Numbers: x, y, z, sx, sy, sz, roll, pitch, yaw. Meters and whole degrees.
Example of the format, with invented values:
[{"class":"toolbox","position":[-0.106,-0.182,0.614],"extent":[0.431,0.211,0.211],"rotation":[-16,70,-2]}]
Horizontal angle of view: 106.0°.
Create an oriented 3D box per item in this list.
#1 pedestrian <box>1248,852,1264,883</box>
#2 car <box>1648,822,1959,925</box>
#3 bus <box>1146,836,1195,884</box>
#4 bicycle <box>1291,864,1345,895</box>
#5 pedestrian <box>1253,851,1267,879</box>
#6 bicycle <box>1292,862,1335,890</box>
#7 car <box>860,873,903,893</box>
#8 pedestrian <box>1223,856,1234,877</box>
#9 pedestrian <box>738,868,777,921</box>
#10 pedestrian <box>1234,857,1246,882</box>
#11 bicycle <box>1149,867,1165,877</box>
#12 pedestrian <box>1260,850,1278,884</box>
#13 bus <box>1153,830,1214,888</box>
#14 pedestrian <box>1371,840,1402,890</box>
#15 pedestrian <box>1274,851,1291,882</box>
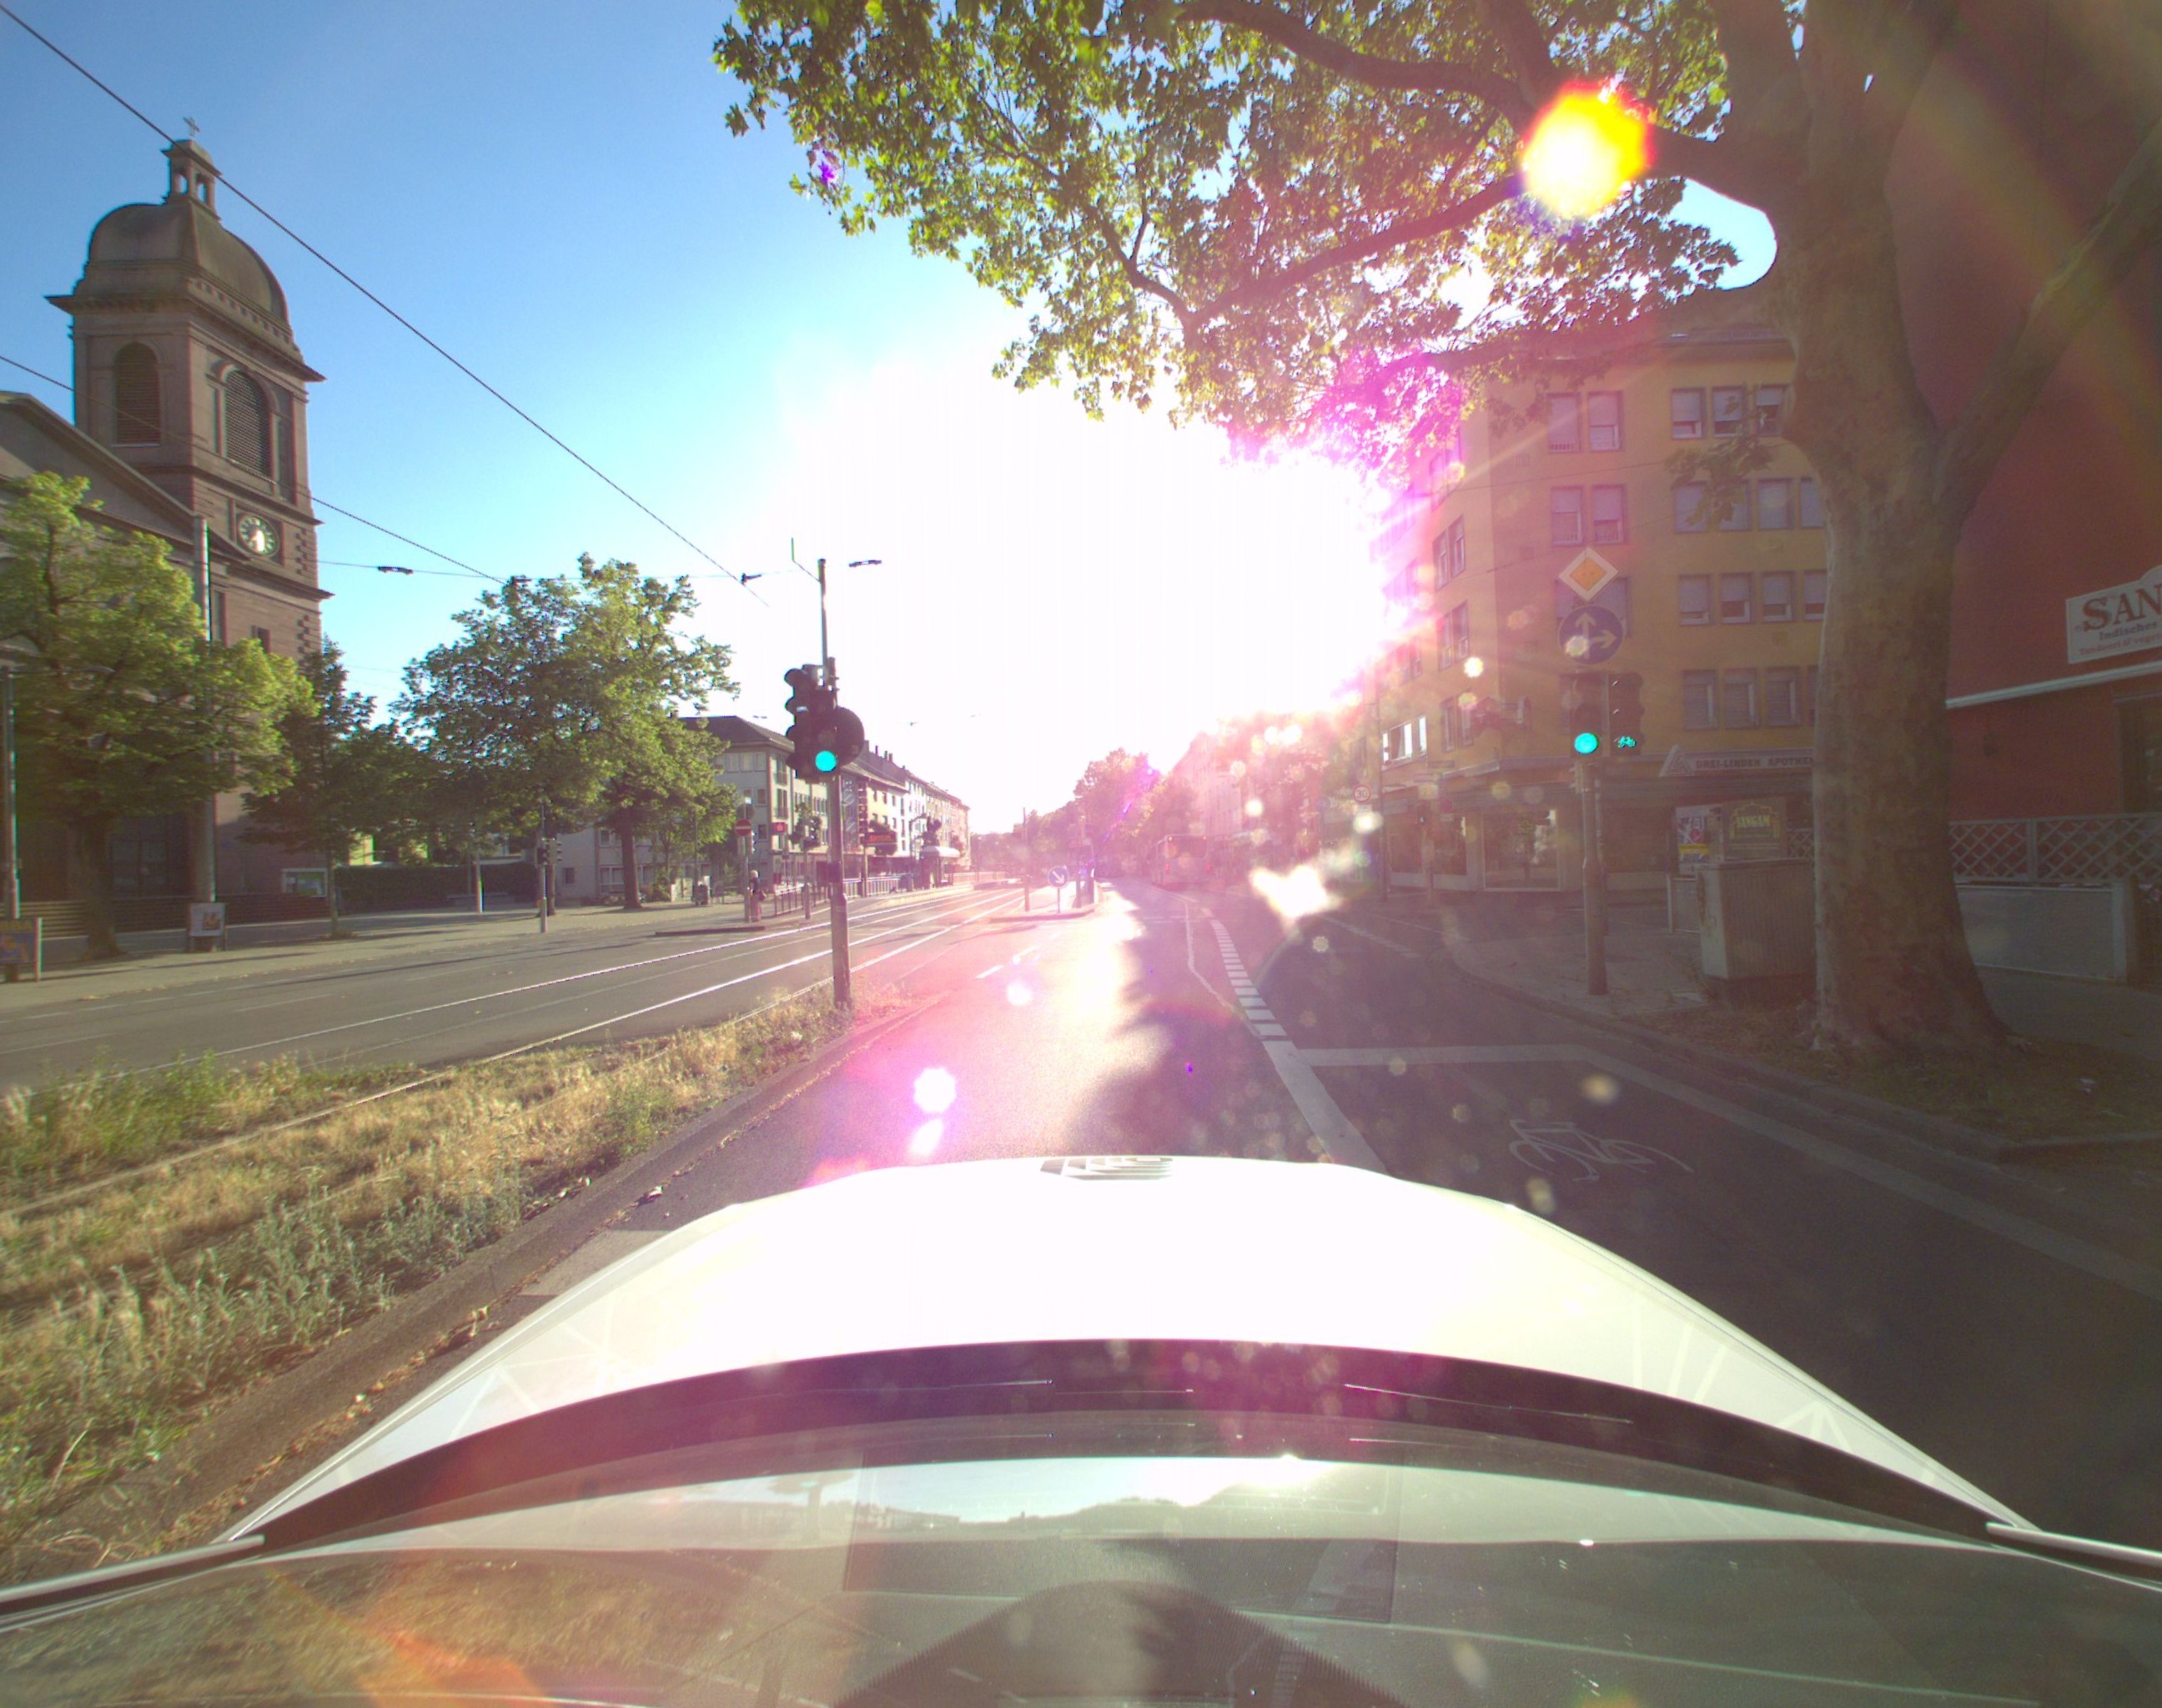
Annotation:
[{"class":"pedestrian","position":[10.344,0.821,48.075],"extent":[0.721,1.779,0.766],"rotation":[-2,-1,1]},{"class":"car","position":[13.611,0.357,15.536],"extent":[4.326,1.686,1.772],"rotation":[-2,-1,0]},{"class":"bus","position":[6.295,0.495,58.565],"extent":[2.686,3.118,9.072],"rotation":[-1,-1,2]},{"class":"bicycle","position":[8.819,0.953,30.382],"extent":[1.794,1.008,0.540],"rotation":[-4,-1,-3]},{"class":"pedestrian","position":[12.236,0.755,55.781],"extent":[0.721,1.840,0.766],"rotation":[-2,-1,1]},{"class":"bicycle","position":[8.866,0.842,31.016],"extent":[1.479,1.008,0.454],"rotation":[-2,-1,-3]},{"class":"car","position":[-18.852,2.765,77.115],"extent":[1.748,1.679,3.533],"rotation":[-3,0,37]},{"class":"pedestrian","position":[12.086,1.023,66.557],"extent":[0.721,1.632,0.766],"rotation":[-2,-1,1]},{"class":"pedestrian","position":[-11.158,1.388,28.090],"extent":[0.915,1.760,0.832],"rotation":[-2,-1,2]},{"class":"pedestrian","position":[10.126,0.994,51.844],"extent":[0.608,1.578,0.852],"rotation":[-2,-1,3]},{"class":"bicycle","position":[9.341,2.203,100.142],"extent":[1.879,1.077,0.755],"rotation":[-6,-1,3]},{"class":"pedestrian","position":[10.252,0.715,44.387],"extent":[0.721,1.807,0.766],"rotation":[-2,-1,1]},{"class":"bus","position":[6.028,0.361,49.381],"extent":[2.686,3.118,9.384],"rotation":[-1,-1,2]},{"class":"pedestrian","position":[11.164,0.408,29.757],"extent":[0.741,1.780,0.895],"rotation":[-2,-1,1]},{"class":"pedestrian","position":[11.526,0.726,46.506],"extent":[0.721,1.723,0.766],"rotation":[-2,-1,1]}]
